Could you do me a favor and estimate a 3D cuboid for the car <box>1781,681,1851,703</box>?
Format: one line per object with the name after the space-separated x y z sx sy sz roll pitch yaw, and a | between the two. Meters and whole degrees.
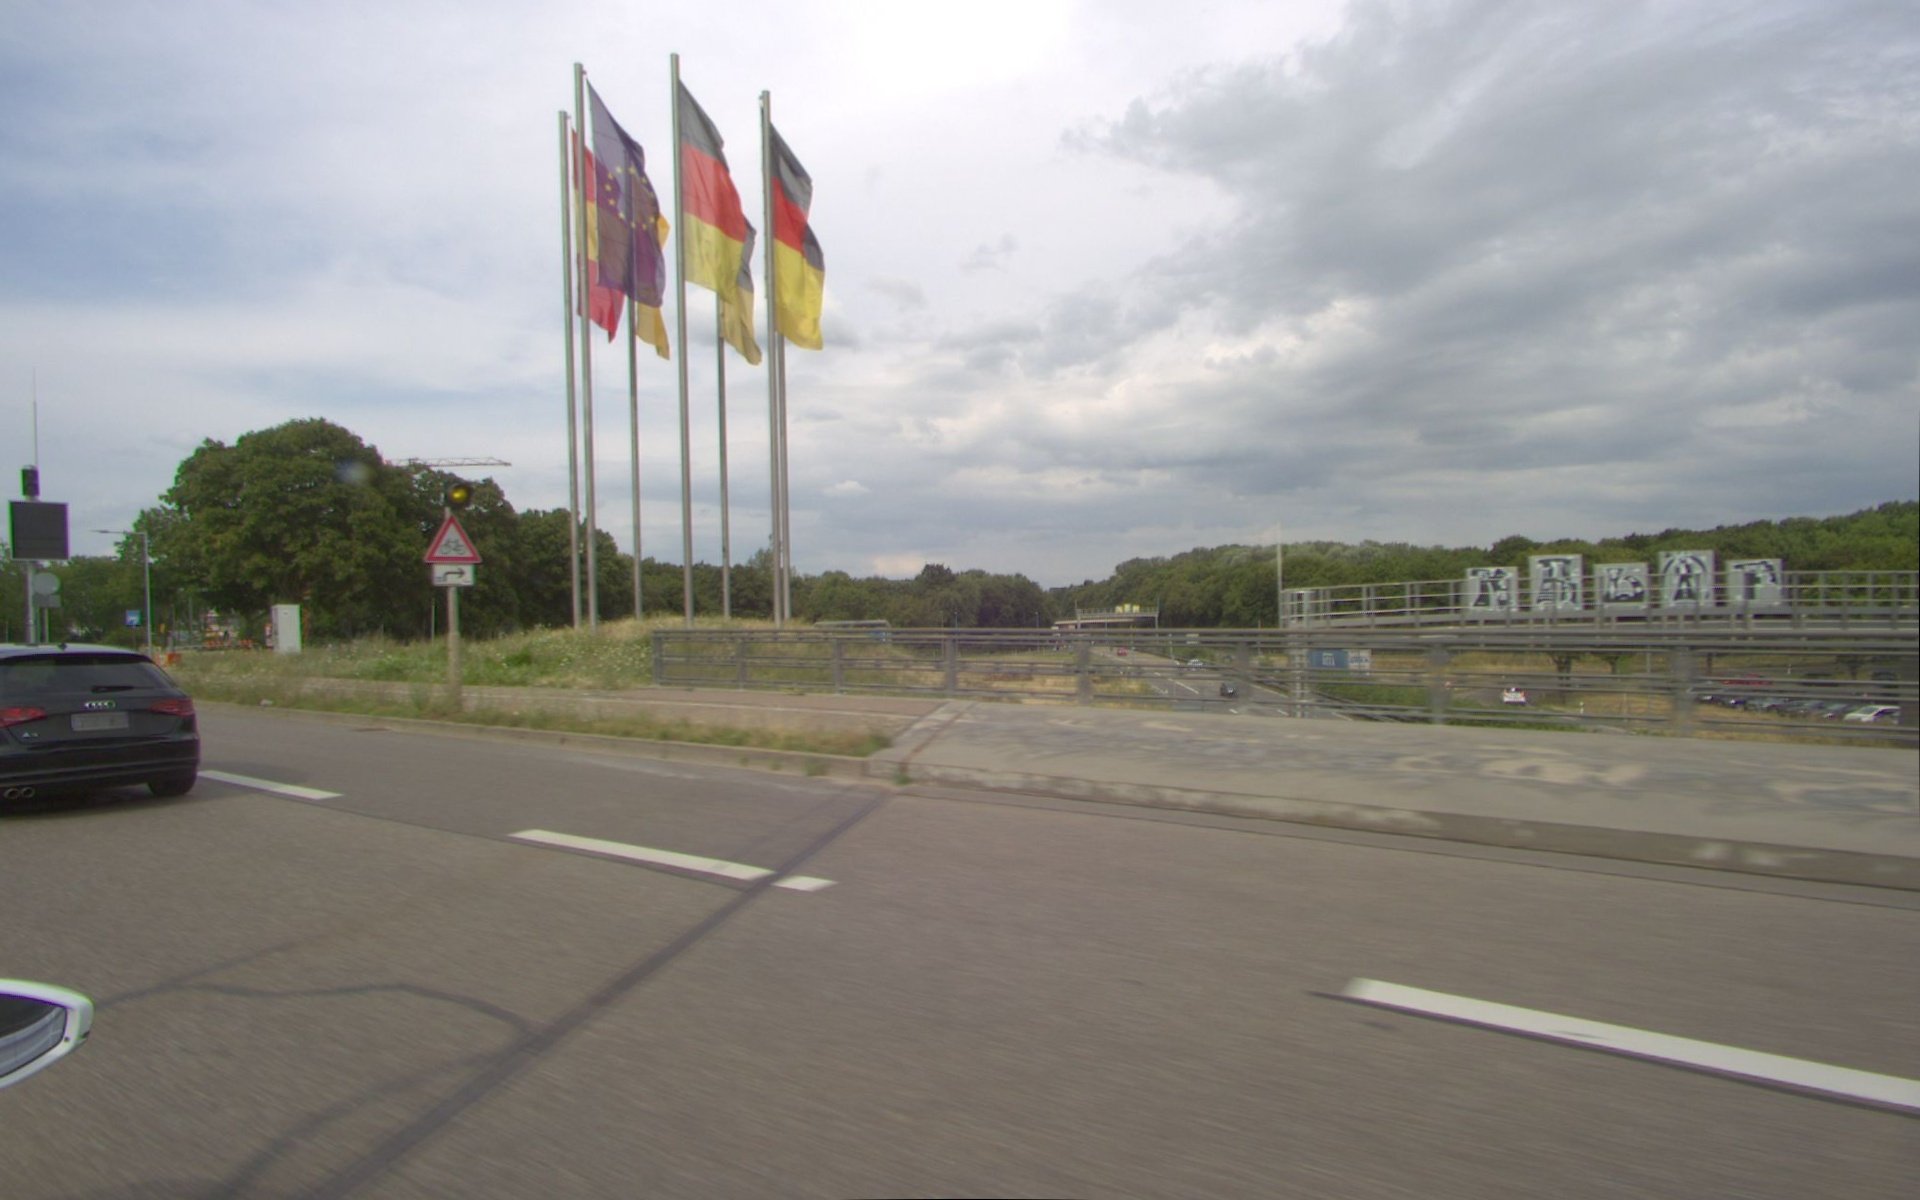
71.308 7.655 83.446 3.925 1.594 1.999 0 -1 13 | car

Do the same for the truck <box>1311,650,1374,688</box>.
42.843 7.652 112.747 3.293 3.665 13.996 0 -1 7 | truck

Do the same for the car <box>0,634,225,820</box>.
-8.725 1.027 9.227 4.055 1.412 1.728 -1 -2 31 | car

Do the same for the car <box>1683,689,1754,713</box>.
59.199 7.875 78.233 3.925 1.594 1.999 0 -1 13 | car

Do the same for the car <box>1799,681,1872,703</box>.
70.598 7.392 80.813 3.925 1.594 1.999 0 -1 13 | car

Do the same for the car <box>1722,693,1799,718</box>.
58.543 7.740 73.304 3.925 1.594 1.999 0 -1 13 | car

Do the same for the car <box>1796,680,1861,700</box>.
77.948 8.108 89.955 3.925 1.594 1.999 0 -1 13 | car

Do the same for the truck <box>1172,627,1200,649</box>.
46.861 7.859 208.094 3.778 4.519 12.658 0 -2 3 | truck

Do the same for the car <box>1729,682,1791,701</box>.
72.252 8.248 90.497 3.925 1.594 1.999 0 -1 13 | car

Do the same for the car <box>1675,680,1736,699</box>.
67.356 8.089 90.532 3.925 1.594 1.999 0 -1 13 | car

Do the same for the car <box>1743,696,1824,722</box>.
58.304 7.676 70.947 3.925 1.594 1.999 0 -1 13 | car

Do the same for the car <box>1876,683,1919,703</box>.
82.247 8.032 86.627 3.925 1.594 1.999 0 -1 13 | car

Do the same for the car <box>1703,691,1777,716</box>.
58.937 7.807 75.705 3.925 1.594 1.999 0 -1 13 | car

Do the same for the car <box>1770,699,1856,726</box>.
57.583 7.586 67.702 3.925 1.594 1.999 0 -1 13 | car
